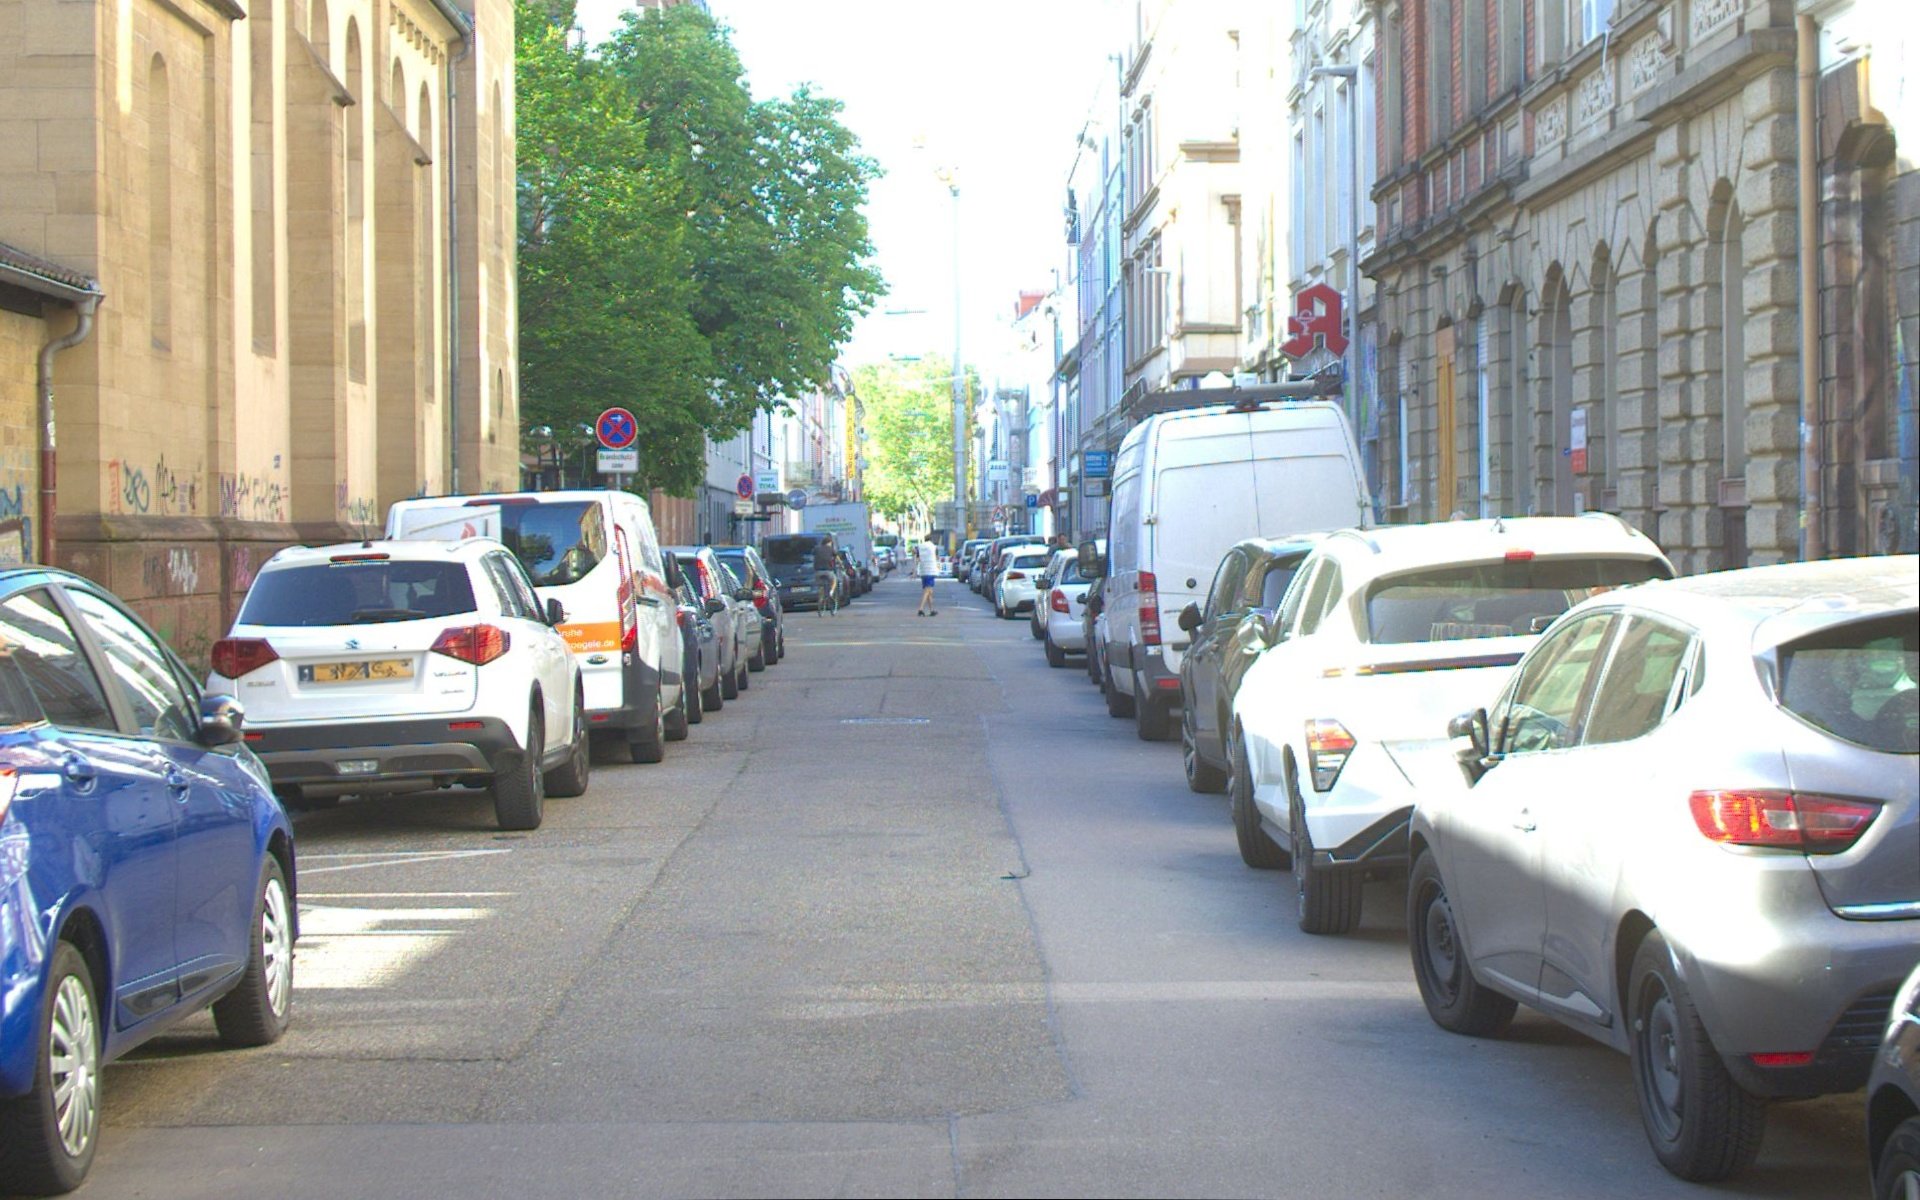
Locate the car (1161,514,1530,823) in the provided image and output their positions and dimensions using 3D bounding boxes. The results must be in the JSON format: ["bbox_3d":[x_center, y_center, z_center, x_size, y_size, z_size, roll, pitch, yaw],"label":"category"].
[{"bbox_3d":[2.189,0.338,20.450,1.687,1.637,3.925,1,1,-1],"label":"car"}]

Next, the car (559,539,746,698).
[{"bbox_3d":[-3.140,0.152,35.743,1.673,1.553,4.000,0,1,-1],"label":"car"}]

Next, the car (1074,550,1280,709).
[{"bbox_3d":[2.191,0.254,35.704,1.779,1.481,4.360,2,1,0],"label":"car"}]

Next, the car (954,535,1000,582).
[{"bbox_3d":[0.734,-1.836,150.643,1.993,2.007,4.000,1,1,0],"label":"car"}]

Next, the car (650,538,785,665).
[{"bbox_3d":[-3.261,-0.004,46.738,1.600,1.609,3.808,-2,1,-1],"label":"car"}]

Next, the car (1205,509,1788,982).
[{"bbox_3d":[2.152,0.529,14.930,1.808,1.684,4.214,3,0,0],"label":"car"}]

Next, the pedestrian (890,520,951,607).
[{"bbox_3d":[-0.843,-0.781,73.774,1.008,1.837,0.785,1,1,-31],"label":"pedestrian"}]

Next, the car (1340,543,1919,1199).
[{"bbox_3d":[2.248,0.644,9.668,1.572,1.520,3.909,3,1,-4],"label":"car"}]

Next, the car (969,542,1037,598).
[{"bbox_3d":[1.327,-0.961,107.696,1.993,1.626,4.000,3,1,0],"label":"car"}]

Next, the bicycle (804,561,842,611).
[{"bbox_3d":[-2.970,-0.314,74.480,0.739,1.040,1.859,1,1,0],"label":"bicycle"}]

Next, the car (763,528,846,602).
[{"bbox_3d":[-3.866,-0.883,85.903,1.875,1.790,4.000,1,1,0],"label":"car"}]

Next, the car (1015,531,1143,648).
[{"bbox_3d":[1.724,-0.181,50.874,1.716,1.640,4.000,1,1,0],"label":"car"}]

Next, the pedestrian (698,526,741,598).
[{"bbox_3d":[-5.557,-0.883,79.471,0.929,1.632,0.806,1,1,1],"label":"pedestrian"}]

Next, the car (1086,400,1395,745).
[{"bbox_3d":[2.264,-0.266,29.392,2.068,2.602,5.888,1,1,0],"label":"car"}]

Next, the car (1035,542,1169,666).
[{"bbox_3d":[1.836,0.020,45.393,1.604,1.499,4.000,2,1,1],"label":"car"}]

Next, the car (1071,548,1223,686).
[{"bbox_3d":[2.171,0.166,40.634,1.570,1.490,3.653,2,1,0],"label":"car"}]

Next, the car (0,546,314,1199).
[{"bbox_3d":[-2.935,0.610,9.271,1.687,1.471,3.860,-1,1,-1],"label":"car"}]

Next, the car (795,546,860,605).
[{"bbox_3d":[-4.123,-0.792,107.767,1.875,1.790,4.000,1,1,0],"label":"car"}]

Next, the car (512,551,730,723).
[{"bbox_3d":[-3.045,0.289,31.537,1.615,1.447,3.950,-1,1,0],"label":"car"}]

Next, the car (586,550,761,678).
[{"bbox_3d":[-3.375,0.133,41.045,1.570,1.393,3.808,-3,1,2],"label":"car"}]

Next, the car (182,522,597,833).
[{"bbox_3d":[-3.168,0.376,19.798,1.742,1.581,3.869,1,1,0],"label":"car"}]

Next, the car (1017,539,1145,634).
[{"bbox_3d":[1.935,-0.243,55.906,1.716,1.483,3.870,1,1,-3],"label":"car"}]

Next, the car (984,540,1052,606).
[{"bbox_3d":[1.574,-0.768,94.384,1.769,1.735,4.000,1,1,0],"label":"car"}]

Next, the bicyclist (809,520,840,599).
[{"bbox_3d":[-2.929,-0.877,74.429,0.605,1.682,0.885,1,1,0],"label":"bicyclist"}]

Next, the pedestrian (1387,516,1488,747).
[{"bbox_3d":[3.759,0.241,27.047,0.640,1.766,0.678,3,0,14],"label":"pedestrian"}]

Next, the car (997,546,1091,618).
[{"bbox_3d":[1.786,-0.403,73.789,1.897,1.483,3.869,1,1,0],"label":"car"}]

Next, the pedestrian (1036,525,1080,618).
[{"bbox_3d":[1.956,-0.570,68.856,0.681,1.837,0.695,1,1,-12],"label":"pedestrian"}]

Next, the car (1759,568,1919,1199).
[{"bbox_3d":[2.310,0.727,4.498,1.535,1.508,3.682,0,1,-2],"label":"car"}]

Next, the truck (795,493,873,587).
[{"bbox_3d":[-4.515,-2.168,124.219,2.532,3.270,6.995,1,1,0],"label":"truck"}]

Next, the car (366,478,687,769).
[{"bbox_3d":[-3.123,0.124,25.622,1.864,1.950,4.610,-1,1,-1],"label":"car"}]
